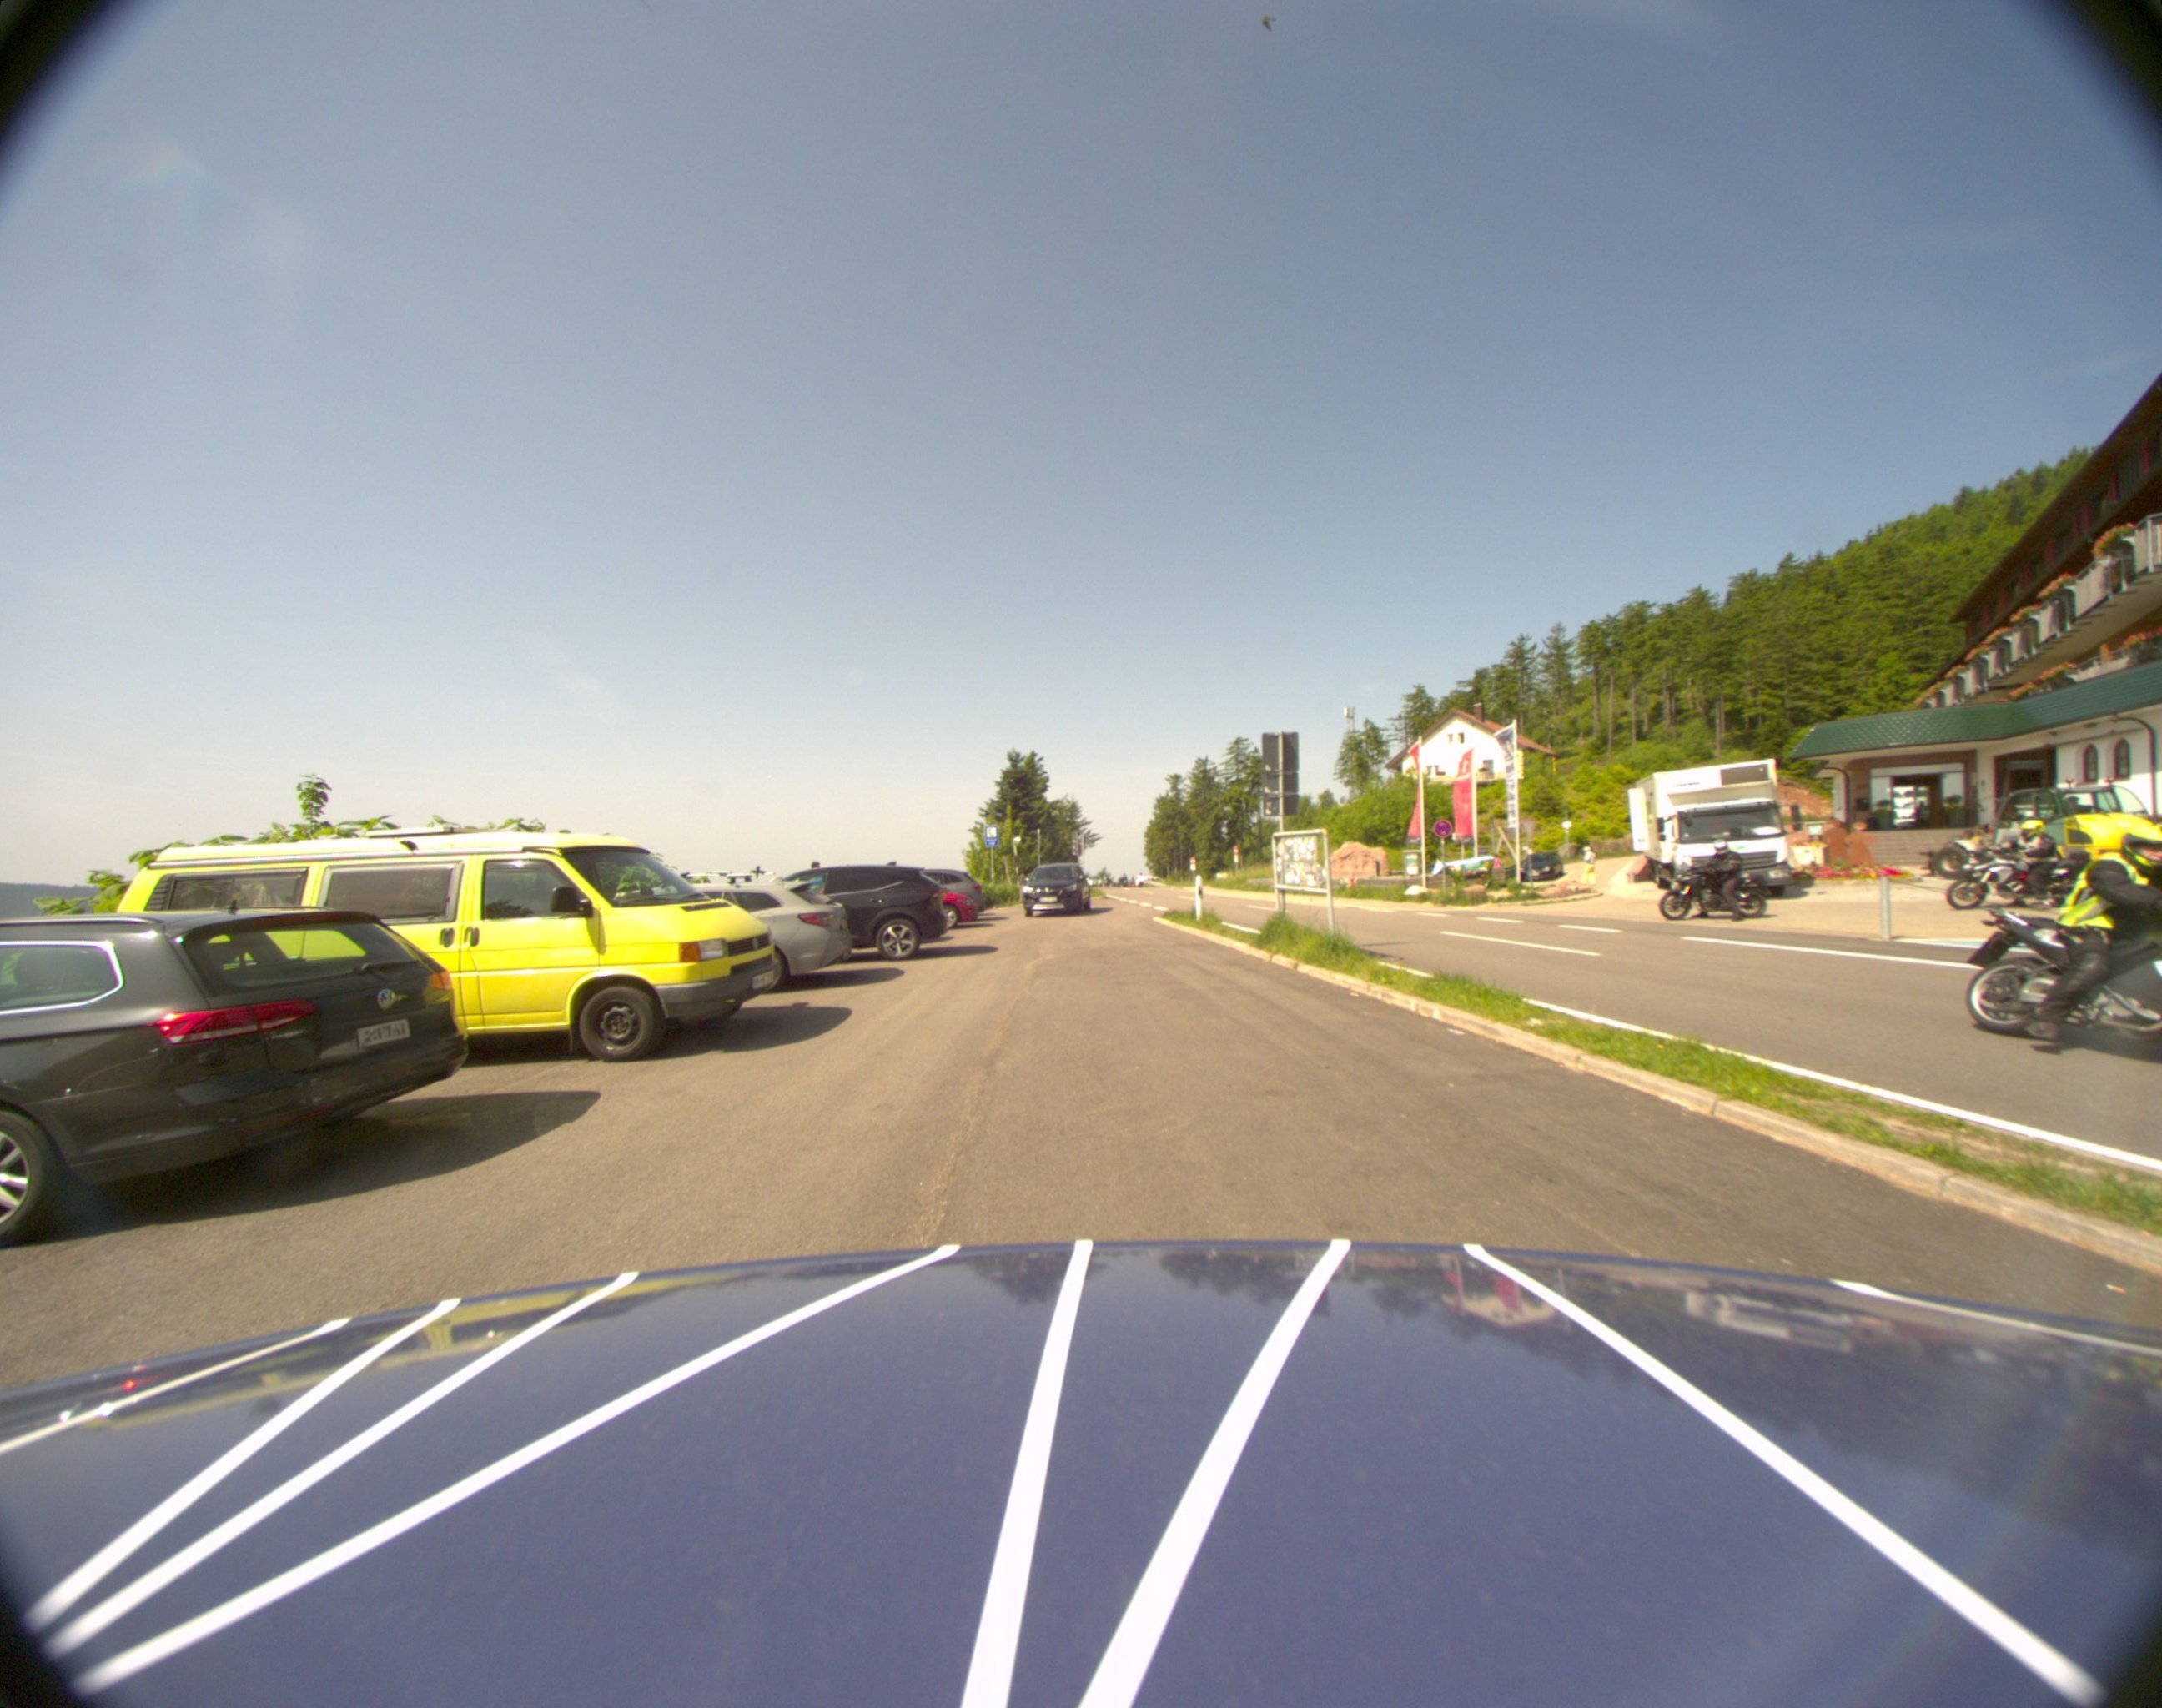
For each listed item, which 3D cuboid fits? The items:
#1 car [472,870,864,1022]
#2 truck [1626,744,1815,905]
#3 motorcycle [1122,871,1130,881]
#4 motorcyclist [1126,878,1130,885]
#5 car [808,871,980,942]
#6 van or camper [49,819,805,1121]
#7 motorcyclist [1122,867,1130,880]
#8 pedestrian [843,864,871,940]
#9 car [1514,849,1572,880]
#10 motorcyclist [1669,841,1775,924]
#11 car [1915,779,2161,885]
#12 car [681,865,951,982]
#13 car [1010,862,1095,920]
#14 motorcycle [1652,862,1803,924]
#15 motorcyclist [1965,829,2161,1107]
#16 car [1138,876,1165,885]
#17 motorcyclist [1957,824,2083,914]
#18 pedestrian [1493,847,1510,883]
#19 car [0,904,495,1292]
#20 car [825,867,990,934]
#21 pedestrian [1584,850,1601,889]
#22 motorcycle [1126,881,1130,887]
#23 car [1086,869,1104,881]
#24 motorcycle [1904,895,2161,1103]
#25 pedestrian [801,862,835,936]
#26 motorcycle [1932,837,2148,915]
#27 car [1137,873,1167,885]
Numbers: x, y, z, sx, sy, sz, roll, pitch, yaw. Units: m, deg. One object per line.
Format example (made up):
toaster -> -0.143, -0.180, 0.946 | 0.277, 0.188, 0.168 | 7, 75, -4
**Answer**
car -> -5.198, 1.110, 10.085 | 4.163, 1.579, 1.704 | -3, 0, -6
truck -> 19.216, -0.831, 23.506 | 3.062, 3.949, 8.786 | -4, 0, 32
motorcycle -> 5.600, 2.740, 93.910 | 0.813, 1.258, 2.327 | 0, -1, -1
motorcyclist -> 10.023, 5.845, 161.152 | 0.840, 1.432, 1.006 | -1, 1, 5
car -> -4.730, 1.279, 19.395 | 4.002, 1.500, 1.840 | -2, -1, -15
van or camper -> -5.479, 0.920, 6.935 | 5.103, 2.001, 1.882 | -4, 0, -1
motorcyclist -> 5.603, 2.415, 93.801 | 0.881, 1.632, 1.299 | 0, -1, -1
pedestrian -> -5.289, 1.118, 17.912 | 0.505, 1.714, 0.566 | -4, 1, -18
car -> 25.940, 0.577, 42.635 | 1.874, 1.347, 4.006 | -1, 4, 45
motorcyclist -> 13.866, 0.614, 16.486 | 1.449, 1.707, 0.927 | -3, -1, 17
car -> 25.029, -0.567, 19.872 | 1.998, 2.482, 3.999 | -1, 2, 1
car -> -4.281, 1.086, 12.925 | 4.000, 1.604, 1.915 | -3, 0, -10
car -> -0.795, 1.102, 24.024 | 1.984, 1.607, 4.152 | -1, 0, 7
motorcycle -> 13.924, 0.839, 16.450 | 2.273, 1.249, 0.880 | -3, -1, 17
motorcyclist -> 7.032, 0.672, 4.954 | 1.027, 1.665, 1.294 | -2, 0, 7
car -> 11.105, 4.166, 119.737 | 3.929, 1.365, 1.932 | 2, -1, -3
motorcyclist -> 19.048, 0.305, 15.460 | 1.245, 1.709, 1.066 | -5, 0, 31
pedestrian -> 20.482, 0.550, 37.011 | 0.697, 1.706, 0.800 | -1, 0, 31
car -> -6.038, 1.210, 3.955 | 4.363, 1.478, 1.812 | -4, -1, -5
car -> -4.966, 1.295, 22.116 | 4.412, 1.559, 1.906 | -3, -1, -11
pedestrian -> 22.200, 0.654, 32.974 | 0.574, 1.679, 0.654 | -1, 0, 31
motorcycle -> 10.015, 6.292, 161.098 | 0.840, 1.089, 2.183 | -1, 0, 5
car -> 1.754, 2.613, 95.123 | 1.781, 1.448, 3.998 | 0, -1, -6
motorcycle -> 7.044, 0.924, 5.059 | 0.823, 1.170, 2.288 | -2, 0, 7
pedestrian -> -6.967, 1.184, 20.147 | 0.610, 1.889, 0.678 | -4, 1, -7
motorcycle -> 19.208, 0.454, 15.337 | 2.439, 1.398, 1.008 | -5, 0, 31
car -> 12.231, 4.305, 131.087 | 4.730, 1.870, 1.932 | 2, -1, -3
